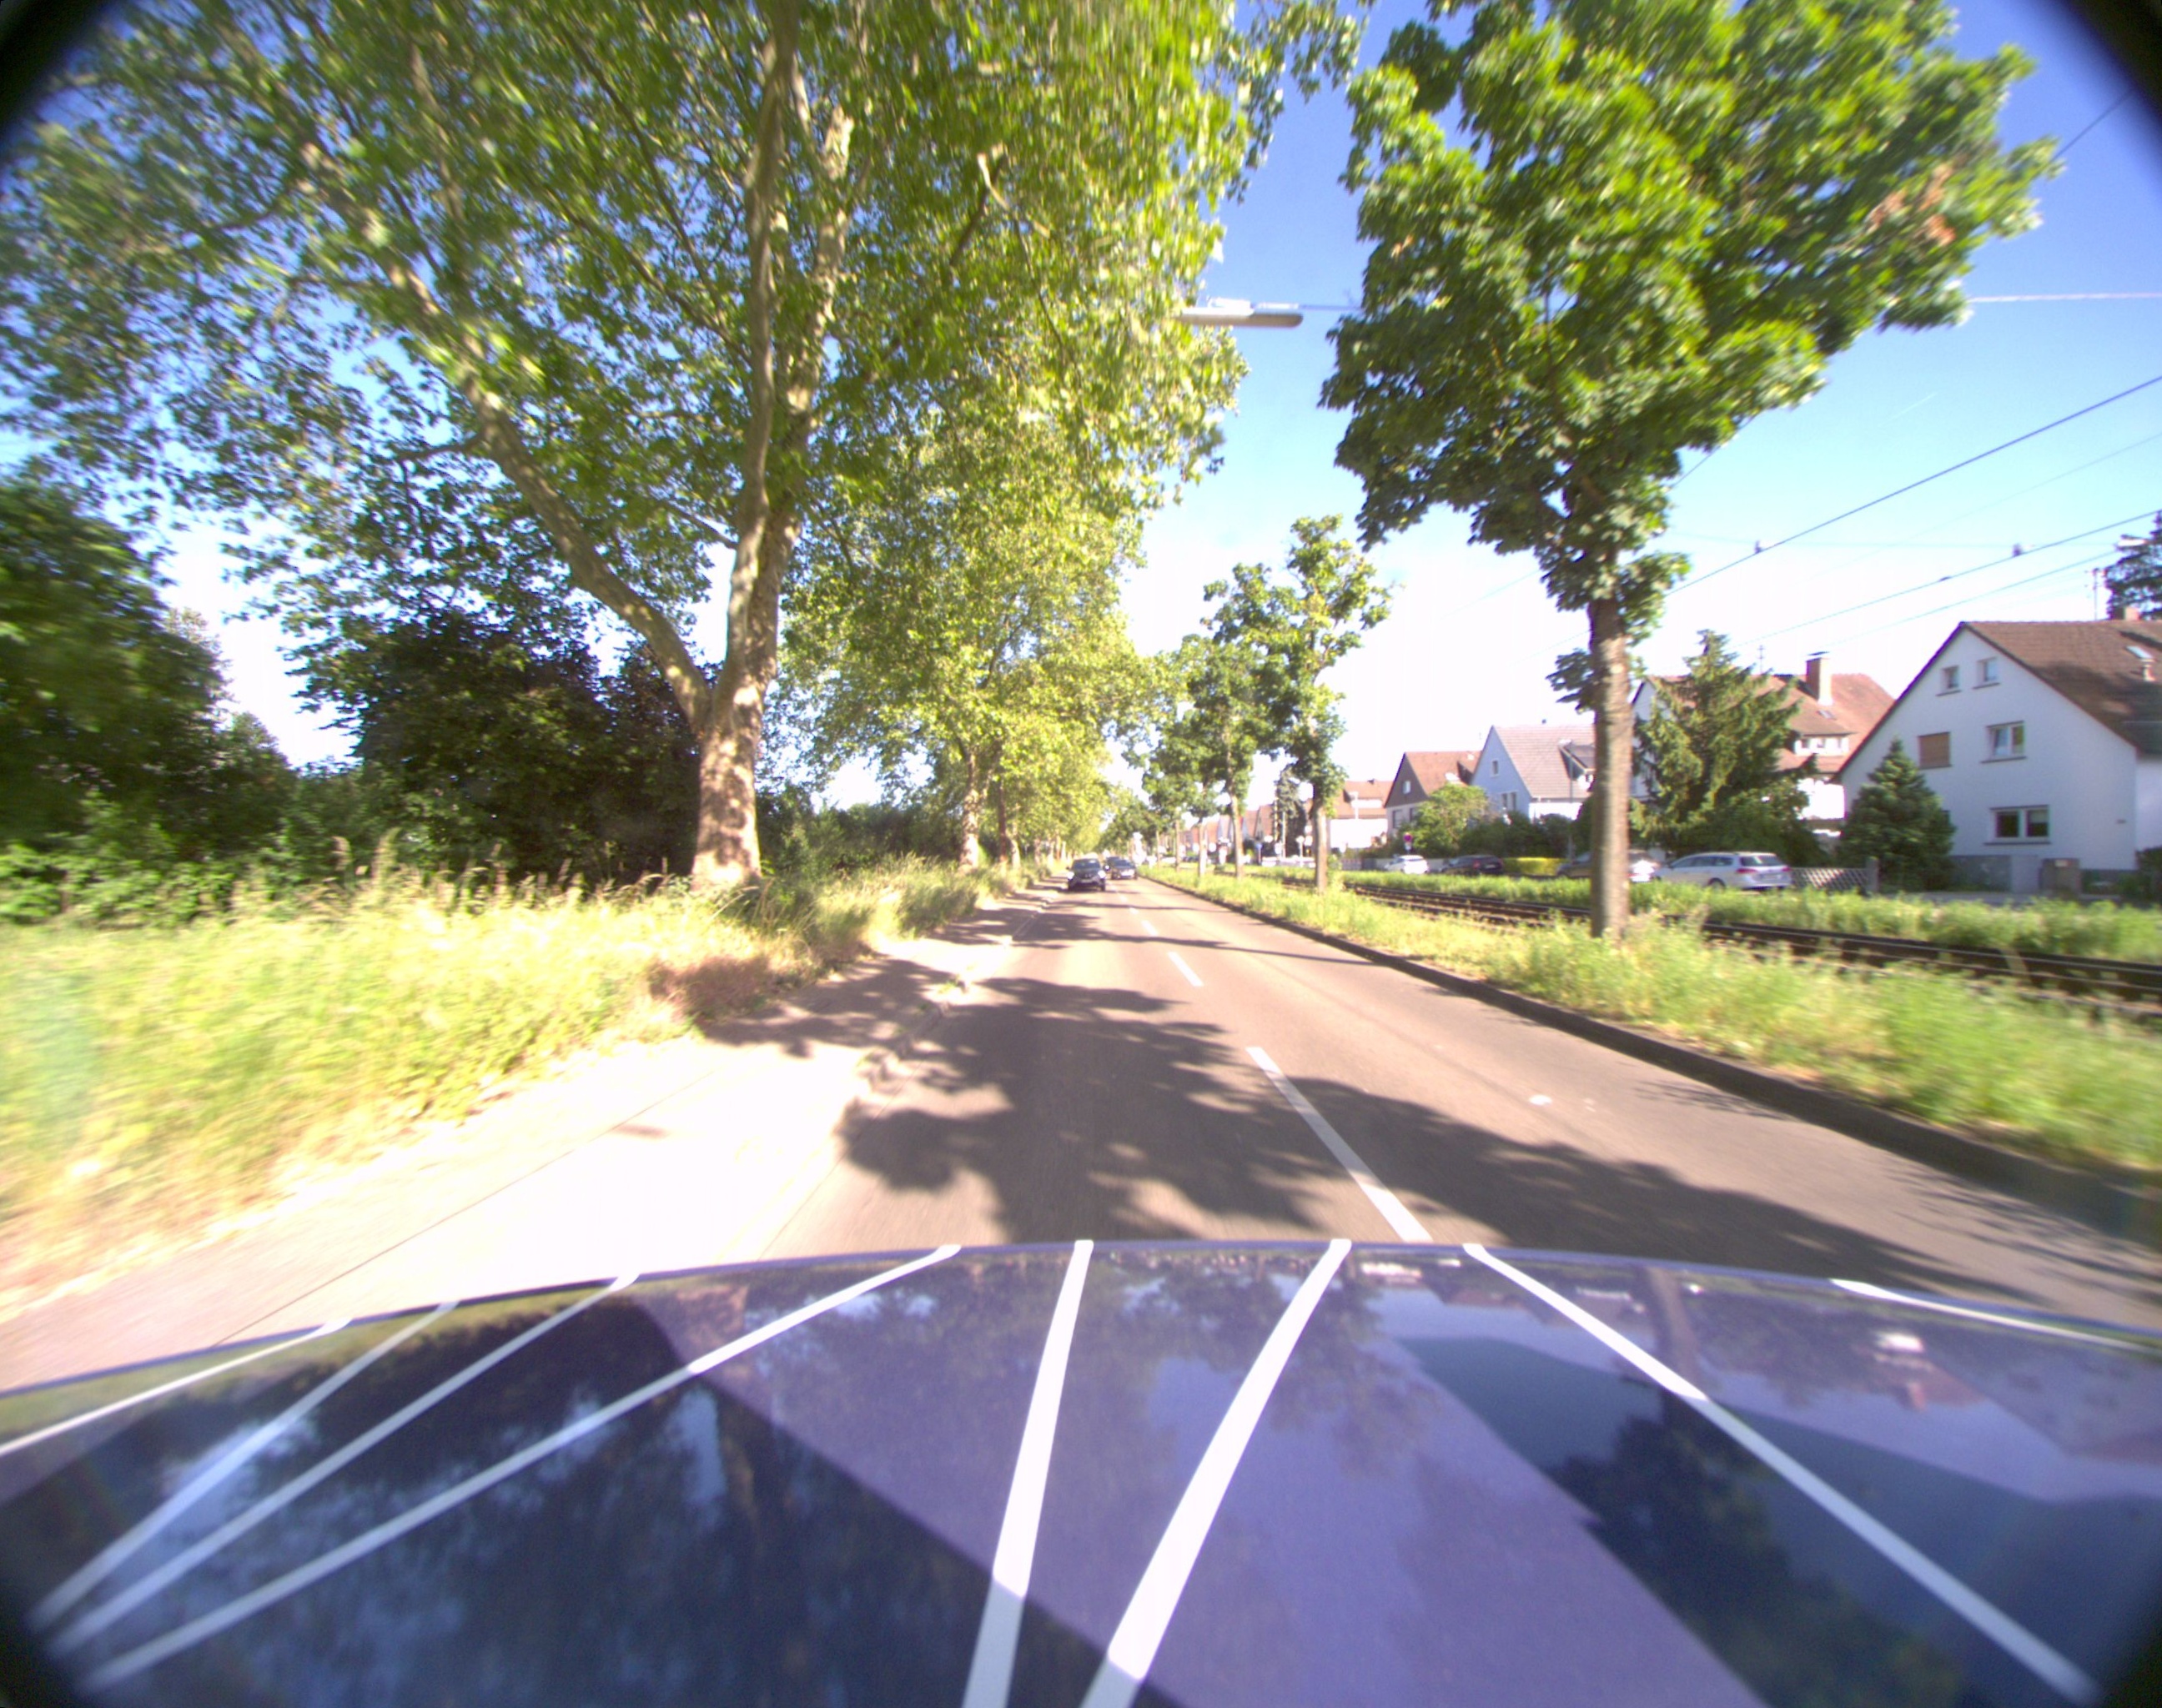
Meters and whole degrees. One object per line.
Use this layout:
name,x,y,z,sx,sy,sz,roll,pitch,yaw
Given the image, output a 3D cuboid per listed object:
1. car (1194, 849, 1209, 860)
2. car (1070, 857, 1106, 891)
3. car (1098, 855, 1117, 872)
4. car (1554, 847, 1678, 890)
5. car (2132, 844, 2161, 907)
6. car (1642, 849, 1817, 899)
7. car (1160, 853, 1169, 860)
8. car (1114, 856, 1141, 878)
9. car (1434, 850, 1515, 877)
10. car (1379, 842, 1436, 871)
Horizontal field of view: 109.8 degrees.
car,18.532,0.103,116.869,1.786,1.674,4.000,-1,0,2
car,0.330,0.940,37.156,1.673,1.529,3.586,-1,0,0
car,2.687,0.960,76.794,1.779,1.620,4.288,0,0,1
car,21.675,0.540,31.043,1.888,1.552,4.537,-2,0,1
car,27.510,0.419,17.414,4.488,1.462,1.747,-3,1,-1
car,21.901,0.618,25.988,1.888,1.464,4.839,-2,0,2
car,18.955,0.600,172.485,1.731,1.581,4.000,-1,0,2
car,3.203,0.901,53.401,1.779,1.441,4.334,-1,0,2
car,21.914,0.471,42.594,1.998,1.333,4.982,-2,1,1
car,22.083,0.165,51.590,1.998,1.852,4.584,-1,0,1
